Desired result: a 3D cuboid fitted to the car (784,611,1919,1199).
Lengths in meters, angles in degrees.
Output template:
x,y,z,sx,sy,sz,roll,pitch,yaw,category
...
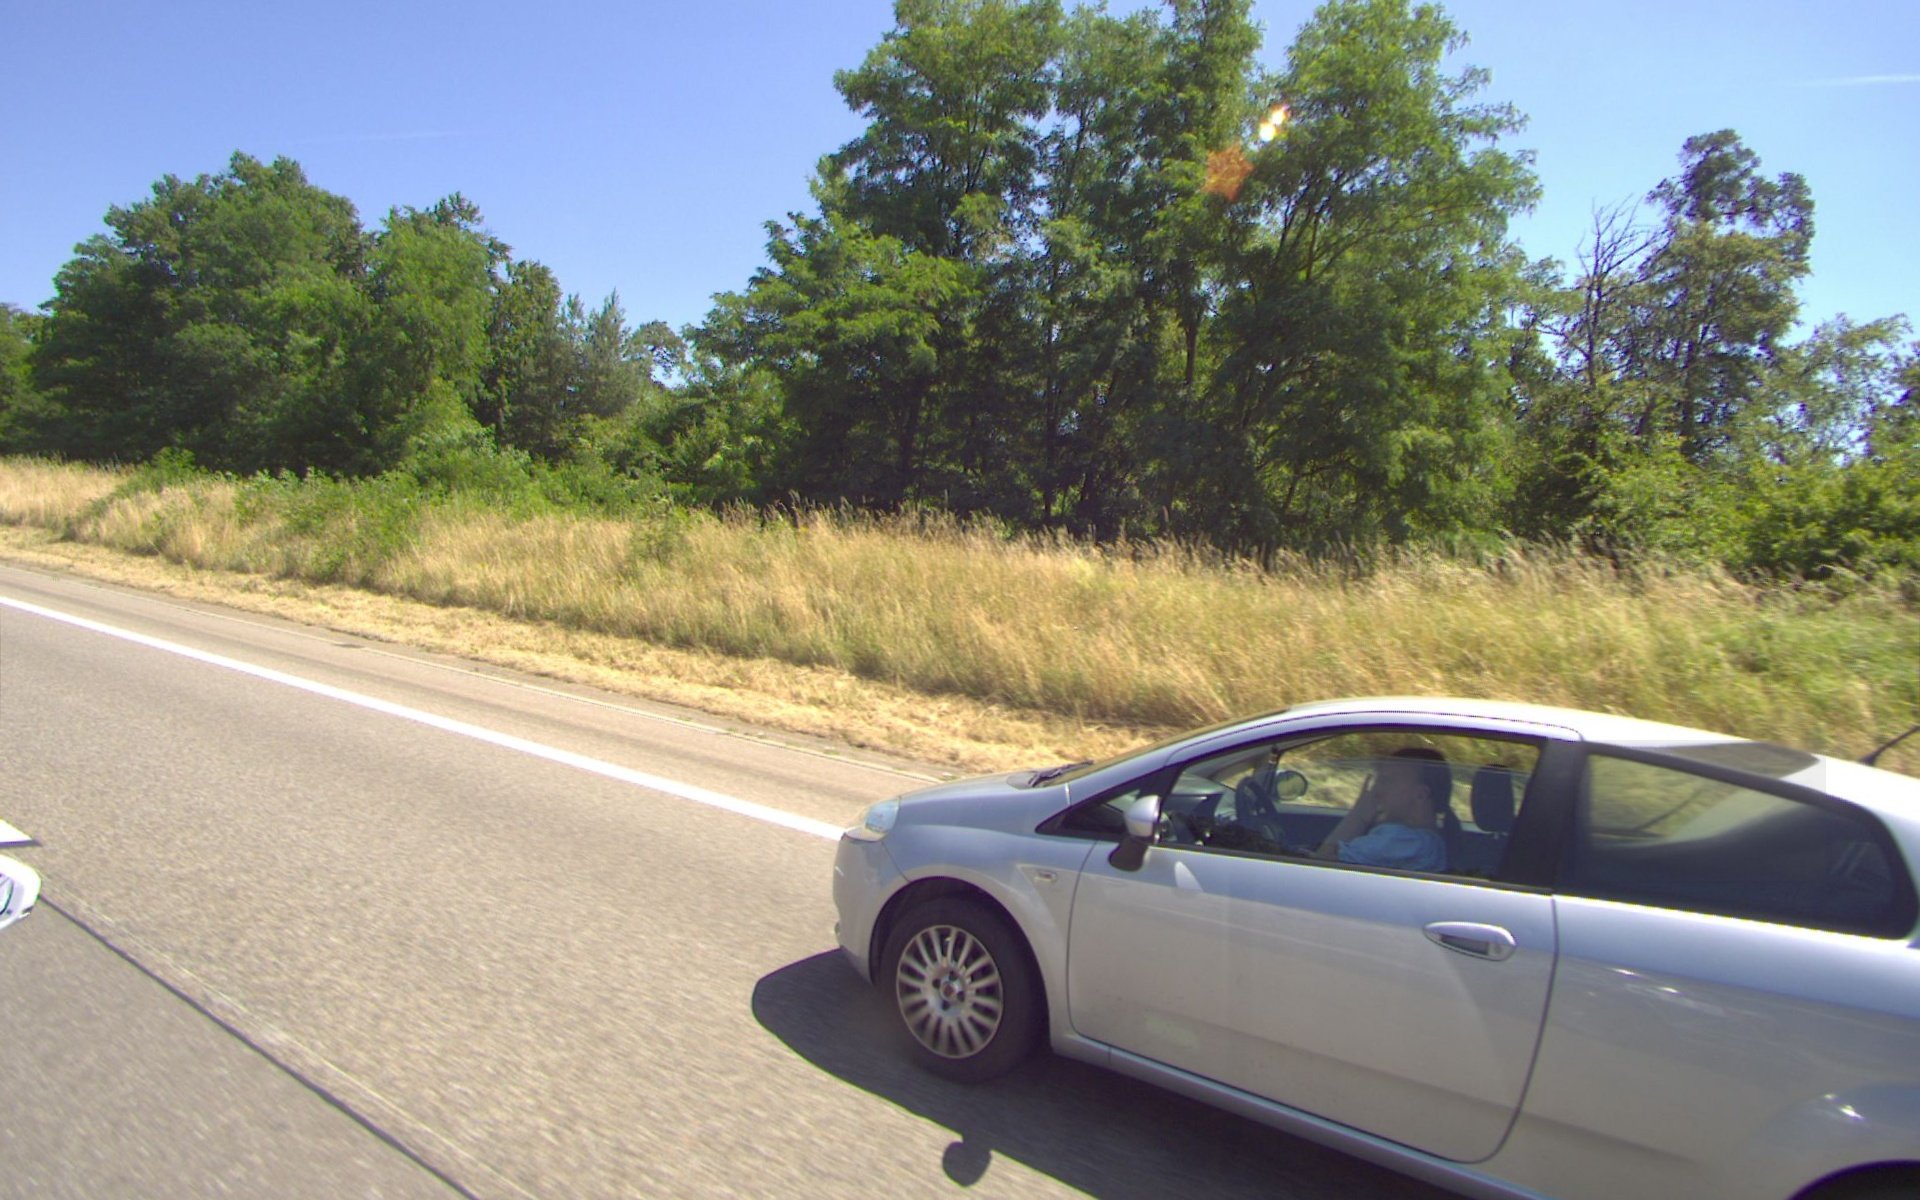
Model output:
x,y,z,sx,sy,sz,roll,pitch,yaw,category
1.541,1.043,3.377,3.915,1.483,1.748,6,-2,32,car
